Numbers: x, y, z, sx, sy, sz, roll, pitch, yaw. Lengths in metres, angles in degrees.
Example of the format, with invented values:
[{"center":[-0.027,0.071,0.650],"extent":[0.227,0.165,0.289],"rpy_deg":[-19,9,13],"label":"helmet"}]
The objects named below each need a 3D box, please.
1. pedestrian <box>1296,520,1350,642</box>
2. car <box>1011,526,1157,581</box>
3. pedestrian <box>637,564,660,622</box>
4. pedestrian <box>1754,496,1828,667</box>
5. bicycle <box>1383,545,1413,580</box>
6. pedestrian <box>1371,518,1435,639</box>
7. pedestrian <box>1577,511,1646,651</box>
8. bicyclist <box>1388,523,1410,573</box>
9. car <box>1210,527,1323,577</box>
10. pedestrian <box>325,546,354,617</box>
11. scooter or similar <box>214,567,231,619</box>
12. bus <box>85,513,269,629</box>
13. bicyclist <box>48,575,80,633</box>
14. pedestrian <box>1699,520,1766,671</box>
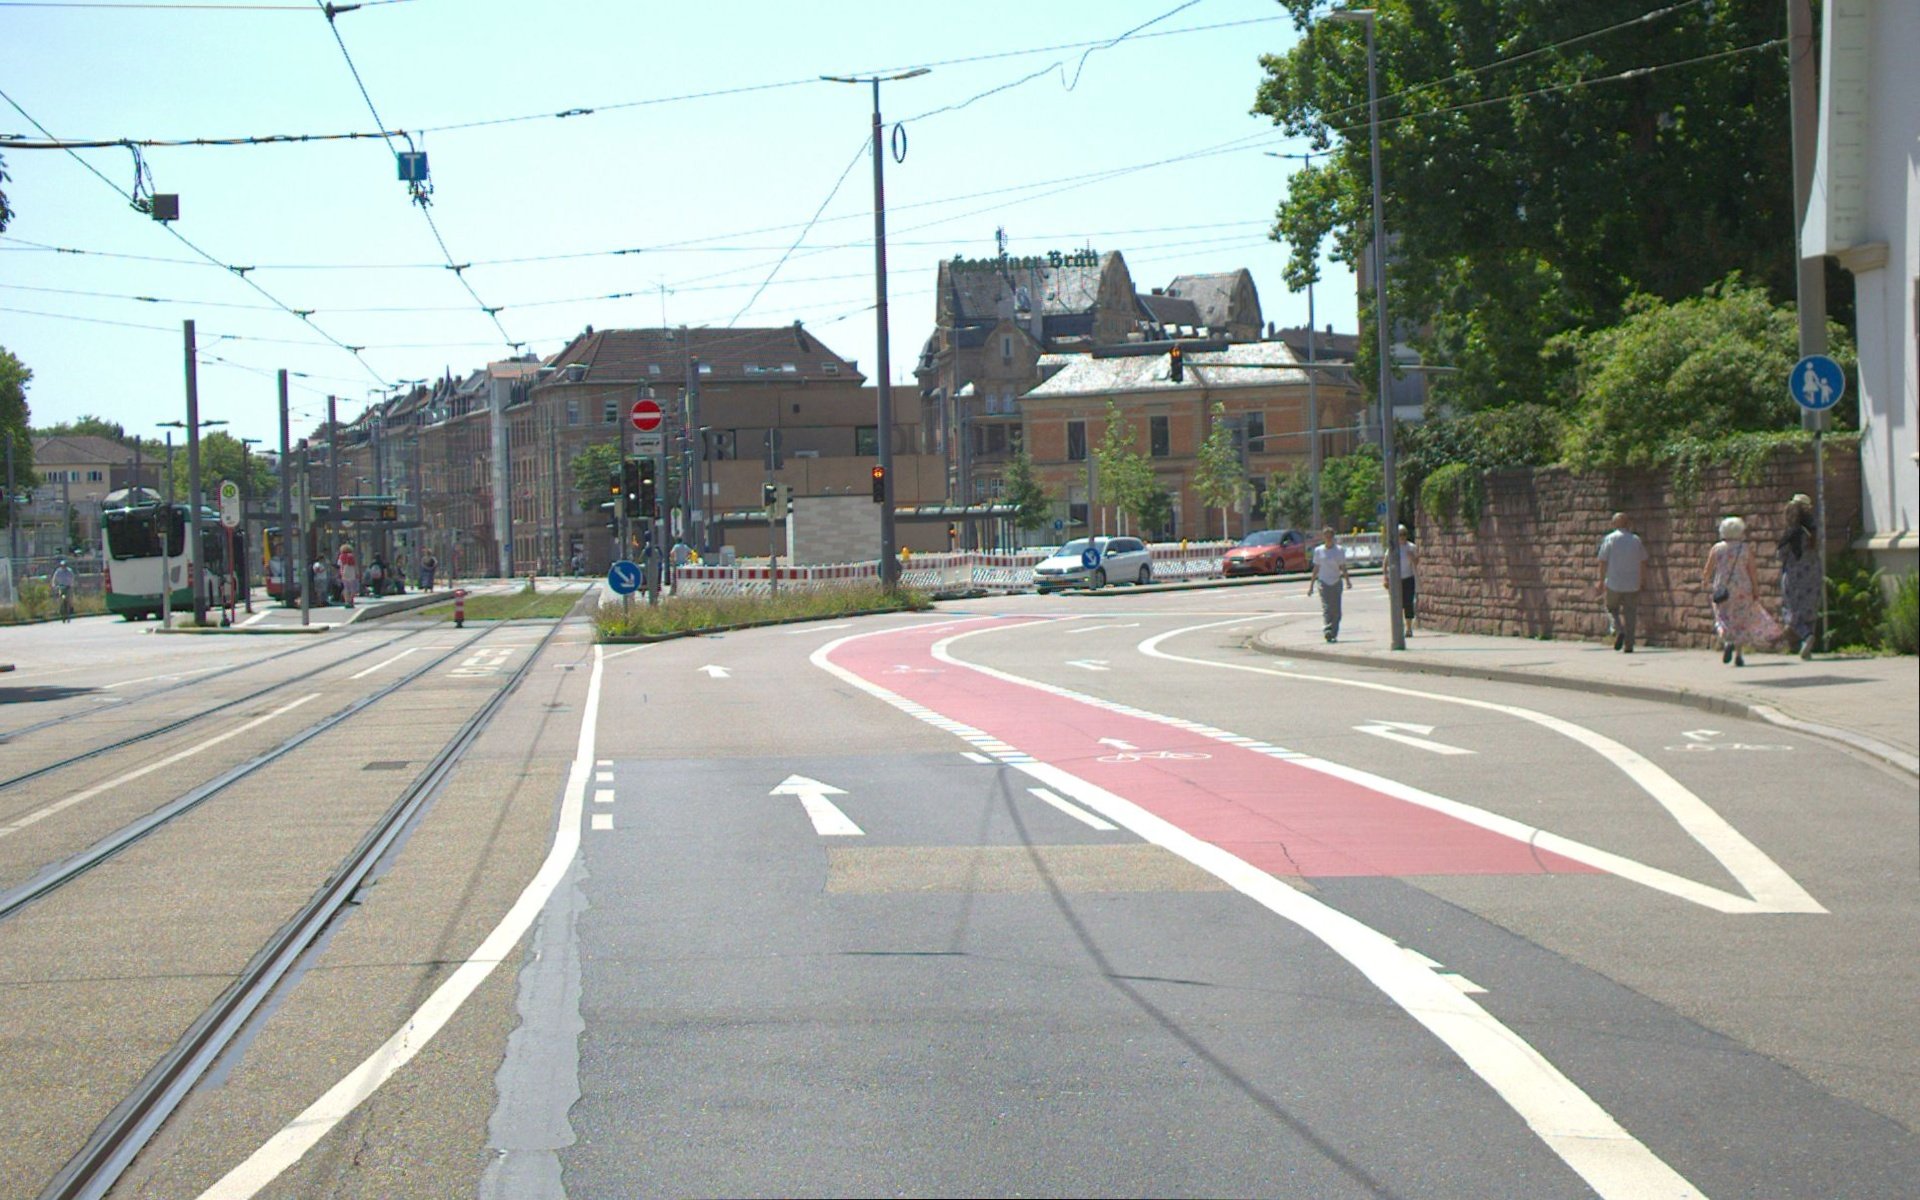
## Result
[{"center":[5.446,-0.282,51.573],"extent":[0.677,1.802,0.748],"rpy_deg":[-2,1,-1],"label":"pedestrian"},{"center":[3.415,-1.265,93.616],"extent":[1.997,1.433,4.698],"rpy_deg":[-1,0,29],"label":"car"},{"center":[-9.020,-0.209,99.490],"extent":[0.526,1.669,0.752],"rpy_deg":[-1,0,-13],"label":"pedestrian"},{"center":[8.657,-0.192,35.835],"extent":[0.627,1.767,0.718],"rpy_deg":[0,0,3],"label":"pedestrian"},{"center":[15.193,-1.296,119.199],"extent":[0.398,1.170,1.767],"rpy_deg":[-2,-2,28],"label":"bicycle"},{"center":[6.674,-0.327,51.832],"extent":[0.814,1.802,0.700],"rpy_deg":[-2,1,-1],"label":"pedestrian"},{"center":[7.772,-0.234,41.037],"extent":[0.660,1.641,0.624],"rpy_deg":[-2,1,0],"label":"pedestrian"},{"center":[15.223,-1.790,119.253],"extent":[0.568,1.713,0.506],"rpy_deg":[-2,-2,29],"label":"bicyclist"},{"center":[9.248,-1.442,103.642],"extent":[1.734,1.420,4.116],"rpy_deg":[-1,0,31],"label":"car"},{"center":[-16.829,-0.507,93.286],"extent":[0.672,1.903,0.641],"rpy_deg":[-2,1,-15],"label":"pedestrian"},{"center":[-17.333,-0.165,80.809],"extent":[0.318,1.202,1.249],"rpy_deg":[-2,1,-10],"label":"scooter or similar"},{"center":[-23.578,-0.931,104.554],"extent":[3.010,3.147,17.501],"rpy_deg":[-1,1,-5],"label":"bus"},{"center":[-26.967,0.116,103.468],"extent":[0.820,1.704,0.771],"rpy_deg":[-1,1,-7],"label":"bicyclist"},{"center":[7.969,-0.049,35.471],"extent":[0.515,1.527,0.597],"rpy_deg":[-2,1,0],"label":"pedestrian"}]
